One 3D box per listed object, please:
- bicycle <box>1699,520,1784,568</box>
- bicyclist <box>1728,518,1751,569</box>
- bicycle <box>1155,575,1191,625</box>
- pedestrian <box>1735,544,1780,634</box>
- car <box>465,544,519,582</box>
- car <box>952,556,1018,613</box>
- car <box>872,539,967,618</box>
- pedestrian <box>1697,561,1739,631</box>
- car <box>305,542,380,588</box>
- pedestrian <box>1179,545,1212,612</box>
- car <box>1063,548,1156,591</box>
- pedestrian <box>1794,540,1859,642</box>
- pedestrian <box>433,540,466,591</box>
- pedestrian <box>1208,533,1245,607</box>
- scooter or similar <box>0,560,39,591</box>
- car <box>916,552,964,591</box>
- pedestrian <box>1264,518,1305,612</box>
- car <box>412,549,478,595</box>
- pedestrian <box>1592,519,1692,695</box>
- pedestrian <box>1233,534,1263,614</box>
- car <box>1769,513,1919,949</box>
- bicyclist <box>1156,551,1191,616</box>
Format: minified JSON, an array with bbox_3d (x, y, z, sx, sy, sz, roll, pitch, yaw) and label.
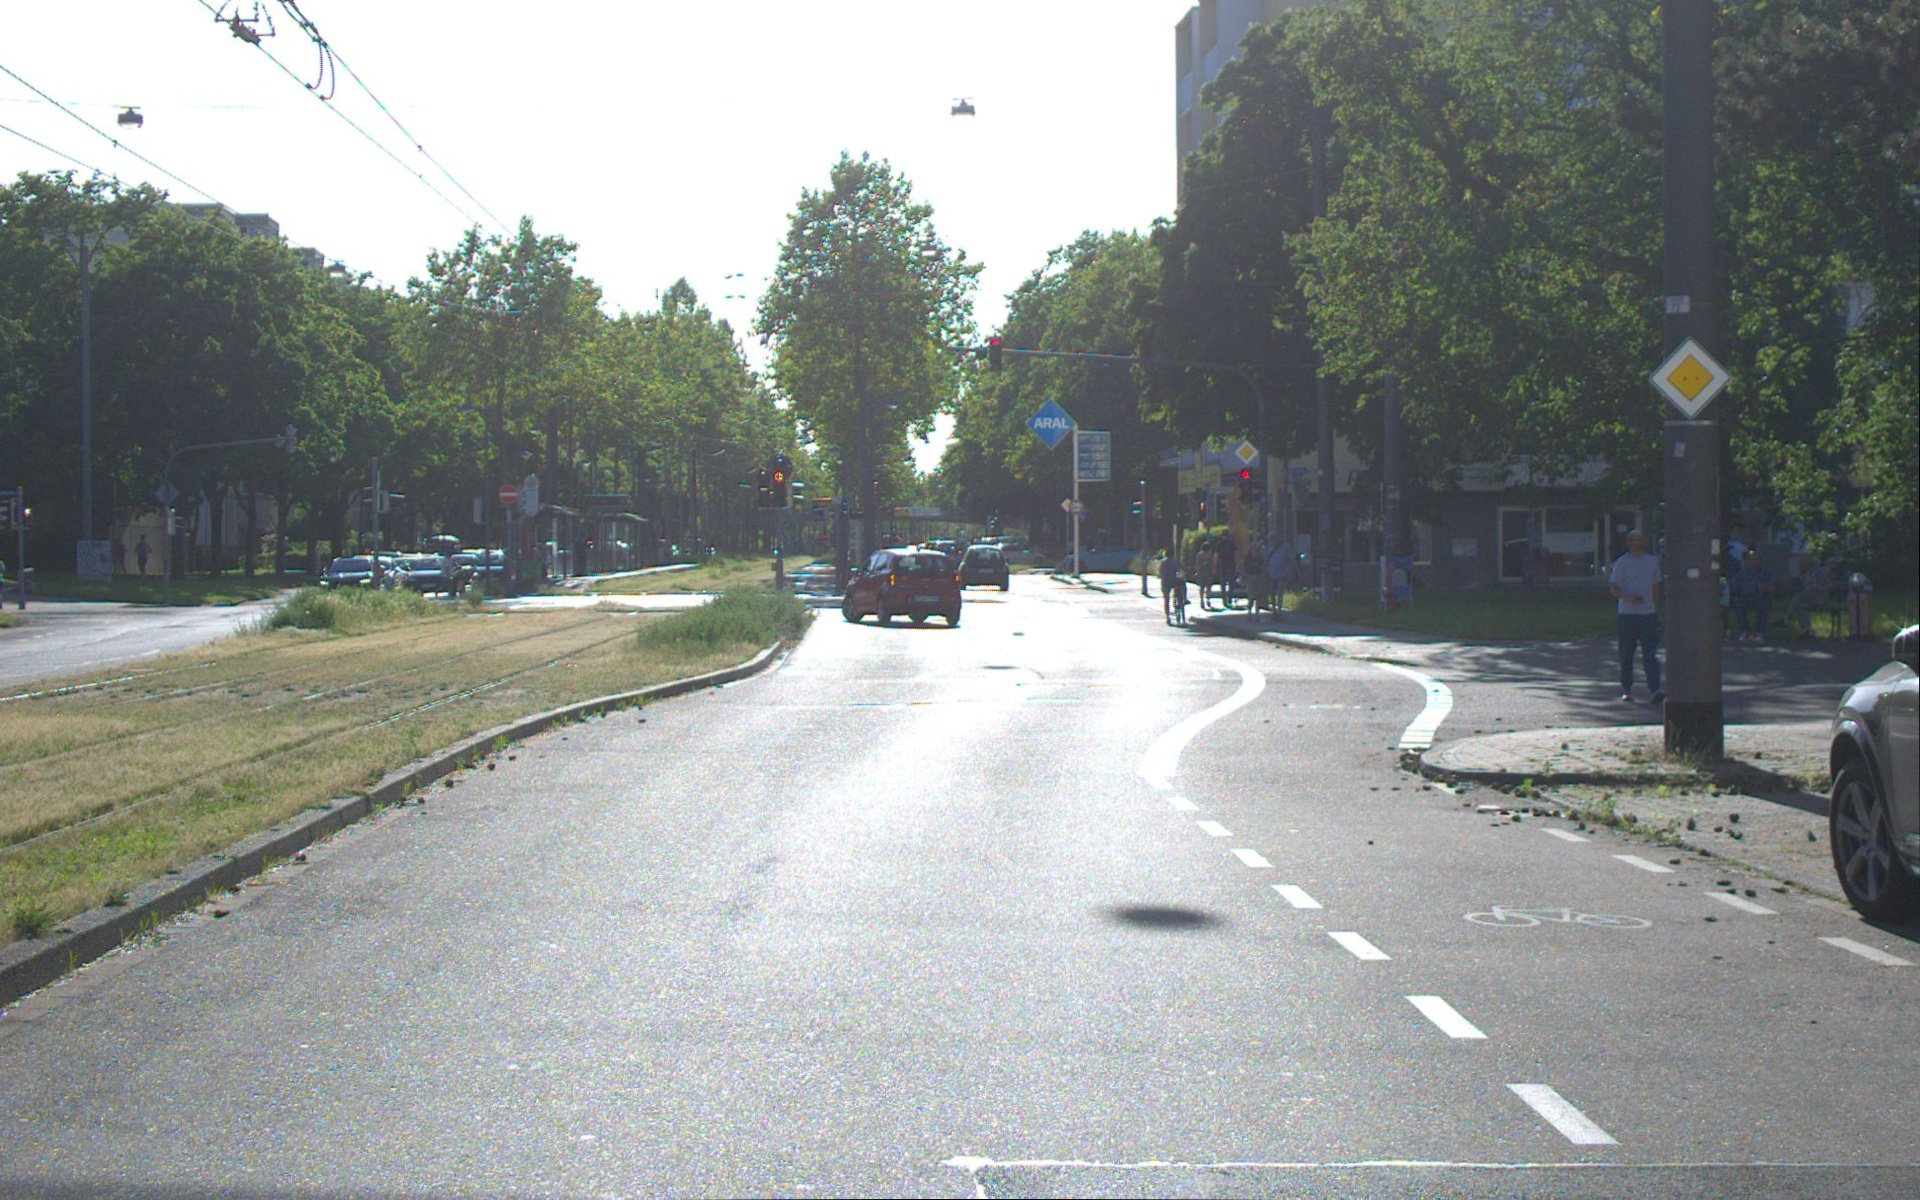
[{"bbox_3d":[24.472,-1.757,107.715,2.470,1.394,0.608,2,1,-2],"label":"bicycle"},{"bbox_3d":[24.281,-1.753,107.141,0.527,1.562,0.464,2,1,-3],"label":"bicyclist"},{"bbox_3d":[4.355,-0.009,70.385,0.648,0.969,1.803,2,1,2],"label":"bicycle"},{"bbox_3d":[11.071,-0.148,47.719,0.404,1.222,0.760,2,1,26],"label":"pedestrian"},{"bbox_3d":[-18.000,-1.434,132.230,1.566,1.397,3.915,2,1,-1],"label":"car"},{"bbox_3d":[0.841,-0.549,117.878,1.968,1.853,4.001,2,1,-3],"label":"car"},{"bbox_3d":[-0.839,-0.453,69.073,1.694,1.503,3.699,2,1,-3],"label":"car"},{"bbox_3d":[10.527,-0.060,47.747,0.404,0.931,0.622,3,3,26],"label":"pedestrian"},{"bbox_3d":[-21.004,-1.206,117.080,1.806,1.528,4.361,0,1,-1],"label":"car"},{"bbox_3d":[5.466,-0.506,79.821,0.647,1.517,0.496,2,1,11],"label":"pedestrian"},{"bbox_3d":[6.964,-1.429,159.730,3.989,1.853,2.011,2,1,10],"label":"car"},{"bbox_3d":[11.869,-0.123,47.080,0.686,1.368,0.754,3,1,26],"label":"pedestrian"},{"bbox_3d":[-16.257,-1.108,109.503,0.891,1.601,0.613,2,1,-1],"label":"pedestrian"},{"bbox_3d":[6.177,-0.695,79.778,0.730,1.676,0.532,2,1,11],"label":"pedestrian"},{"bbox_3d":[-27.676,-0.704,99.952,1.734,0.896,0.563,-1,1,-16],"label":"scooter or similar"},{"bbox_3d":[-0.899,-1.260,151.644,1.894,1.605,4.501,2,1,-2],"label":"car"},{"bbox_3d":[6.284,-0.681,66.664,0.703,1.783,0.694,-3,2,4],"label":"pedestrian"},{"bbox_3d":[-17.617,-0.977,117.690,1.687,1.528,4.361,0,1,-1],"label":"car"},{"bbox_3d":[6.737,0.062,33.988,0.880,1.716,0.725,-1,1,4],"label":"pedestrian"},{"bbox_3d":[5.598,-0.508,66.799,0.529,1.523,0.627,-2,0,4],"label":"pedestrian"},{"bbox_3d":[4.694,0.481,13.242,1.879,1.711,4.934,-3,1,0],"label":"car"},{"bbox_3d":[4.368,-0.342,70.357,0.638,1.318,0.803,2,1,1],"label":"bicyclist"}]
